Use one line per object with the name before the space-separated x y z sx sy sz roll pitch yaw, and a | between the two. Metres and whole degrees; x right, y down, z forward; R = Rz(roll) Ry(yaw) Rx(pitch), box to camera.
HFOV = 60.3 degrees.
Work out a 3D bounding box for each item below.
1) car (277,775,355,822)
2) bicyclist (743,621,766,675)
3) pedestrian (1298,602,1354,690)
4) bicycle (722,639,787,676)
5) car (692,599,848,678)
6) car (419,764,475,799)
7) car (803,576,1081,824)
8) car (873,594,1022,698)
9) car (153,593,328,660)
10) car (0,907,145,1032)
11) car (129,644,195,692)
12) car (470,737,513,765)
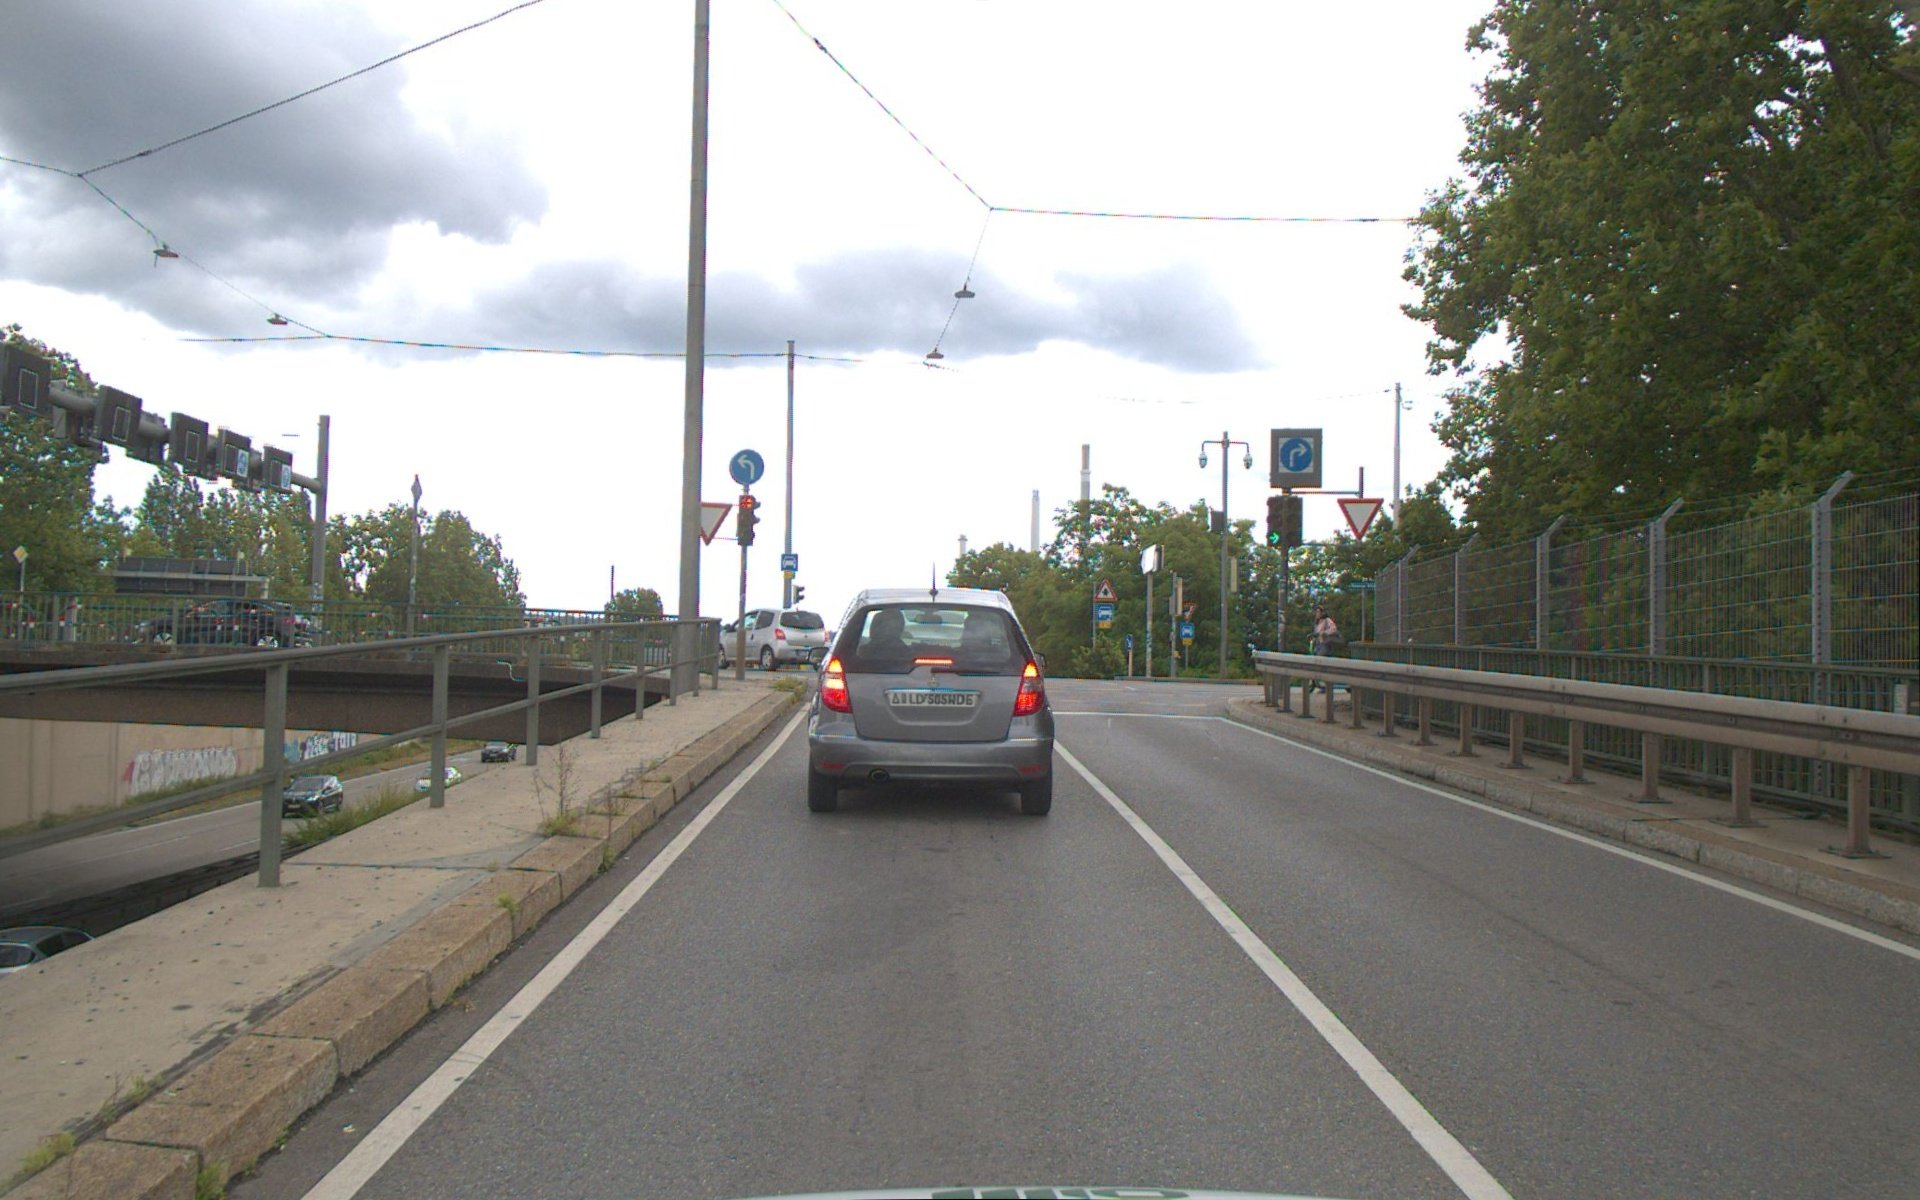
car | -28.746 8.838 73.977 1.877 1.769 4.549 0 -3 -3
bicyclist | -6.594 1.540 53.099 0.641 1.703 0.867 1 0 -12
pedestrian | 7.230 0.922 32.689 0.816 1.707 0.978 0 -3 -5
bicycle | -6.607 1.830 53.083 1.997 1.144 0.926 1 0 -13
car | -4.576 0.879 39.479 1.918 1.747 3.944 1 0 -39
car | -26.222 9.278 84.644 1.693 1.555 4.084 1 -3 -2
car | -0.098 0.651 12.928 1.819 1.616 4.000 1 0 0
car | -0.312 0.772 29.941 1.897 1.747 4.393 1 0 -12
car | -19.543 0.708 45.084 3.908 1.747 1.936 1 0 -4
car | -16.273 6.535 29.561 1.524 1.580 3.681 1 -3 0
car | -40.417 3.418 83.842 1.819 2.254 3.658 1 0 -6
car | -33.691 10.852 119.026 1.892 1.874 4.407 0 -3 -2
